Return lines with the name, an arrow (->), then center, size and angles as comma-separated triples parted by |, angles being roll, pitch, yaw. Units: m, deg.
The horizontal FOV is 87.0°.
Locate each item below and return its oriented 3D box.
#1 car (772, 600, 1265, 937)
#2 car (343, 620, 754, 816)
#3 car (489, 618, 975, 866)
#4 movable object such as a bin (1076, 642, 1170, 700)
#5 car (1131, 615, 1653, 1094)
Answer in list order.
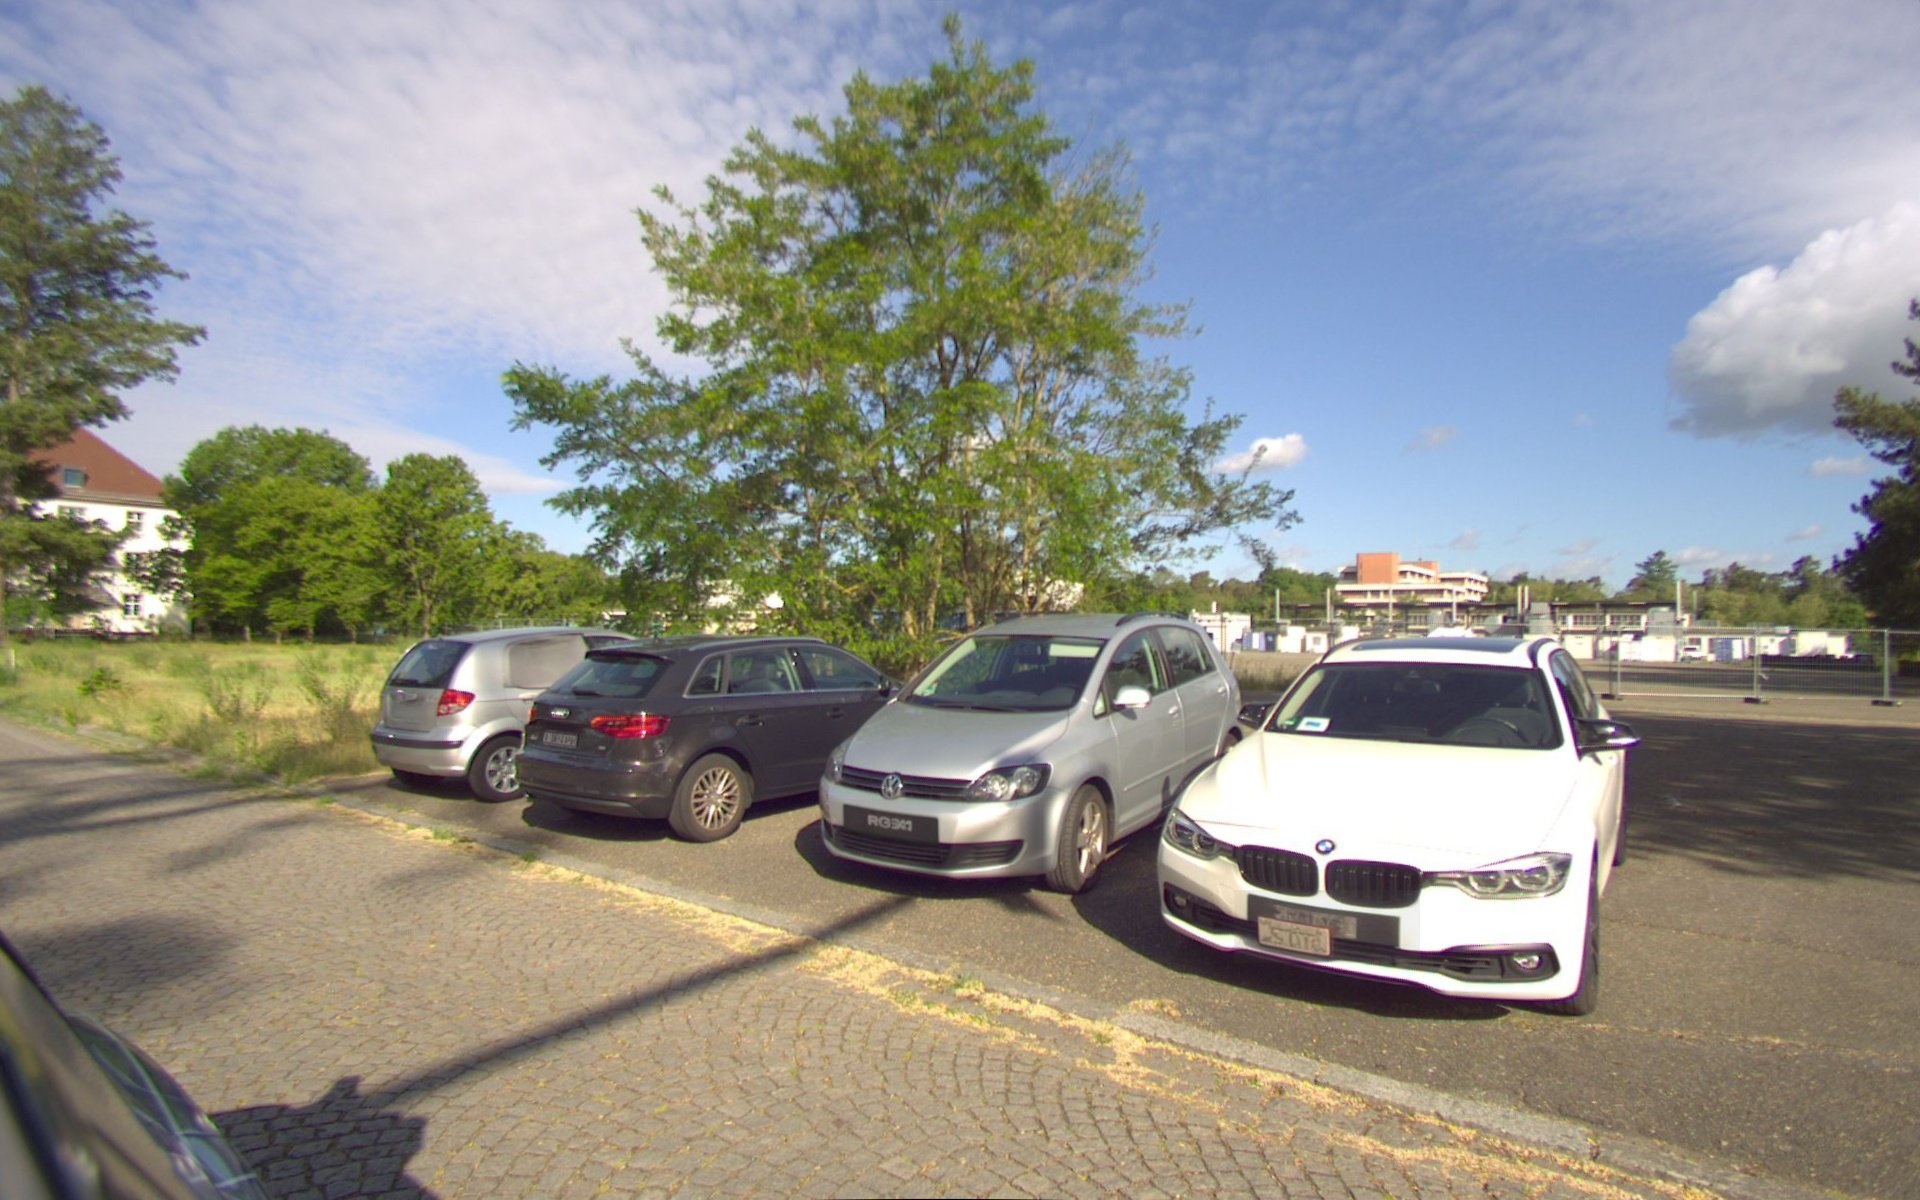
car -> 0.687, 0.841, 7.115 | 1.717, 1.638, 3.911 | -1, 0, 34
car -> -3.886, 0.984, 10.019 | 1.633, 1.482, 3.434 | -1, 0, 36
car -> -1.674, 0.944, 8.470 | 1.685, 1.482, 3.761 | -1, 0, 38
movable object such as a bin -> 3.418, 1.440, 21.035 | 0.996, 1.116, 2.257 | -1, -3, 37
car -> 2.755, 0.876, 5.663 | 1.749, 1.478, 4.501 | -1, -1, 35
